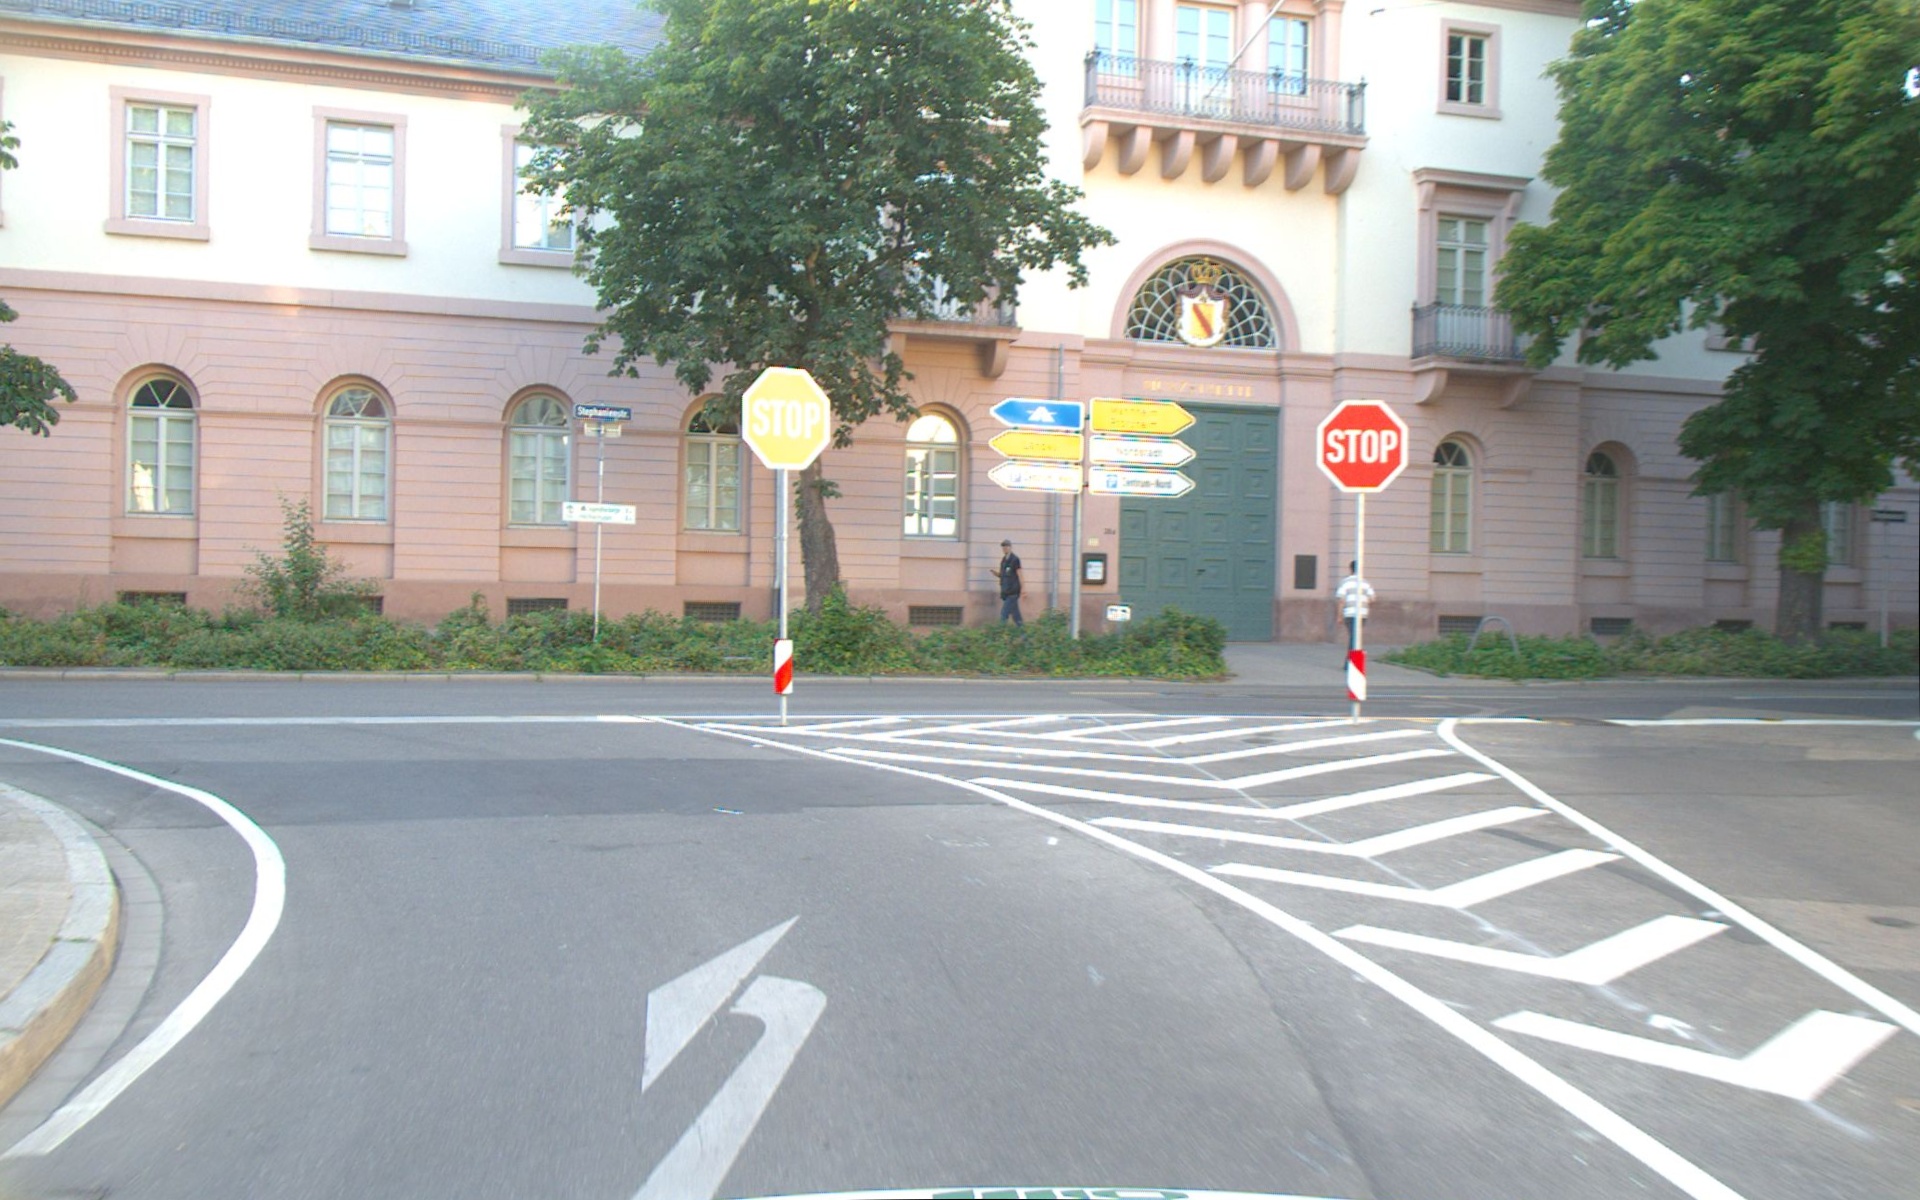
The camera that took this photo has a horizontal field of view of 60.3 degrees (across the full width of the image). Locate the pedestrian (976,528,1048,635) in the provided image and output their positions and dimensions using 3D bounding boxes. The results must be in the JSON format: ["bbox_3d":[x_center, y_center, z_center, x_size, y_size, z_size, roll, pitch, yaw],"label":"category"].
[{"bbox_3d":[0.917,-0.331,29.382,1.061,1.871,0.798,1,1,-16],"label":"pedestrian"}]

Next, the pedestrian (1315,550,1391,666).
[{"bbox_3d":[6.440,0.125,27.124,0.912,1.864,0.796,1,1,-19],"label":"pedestrian"}]
